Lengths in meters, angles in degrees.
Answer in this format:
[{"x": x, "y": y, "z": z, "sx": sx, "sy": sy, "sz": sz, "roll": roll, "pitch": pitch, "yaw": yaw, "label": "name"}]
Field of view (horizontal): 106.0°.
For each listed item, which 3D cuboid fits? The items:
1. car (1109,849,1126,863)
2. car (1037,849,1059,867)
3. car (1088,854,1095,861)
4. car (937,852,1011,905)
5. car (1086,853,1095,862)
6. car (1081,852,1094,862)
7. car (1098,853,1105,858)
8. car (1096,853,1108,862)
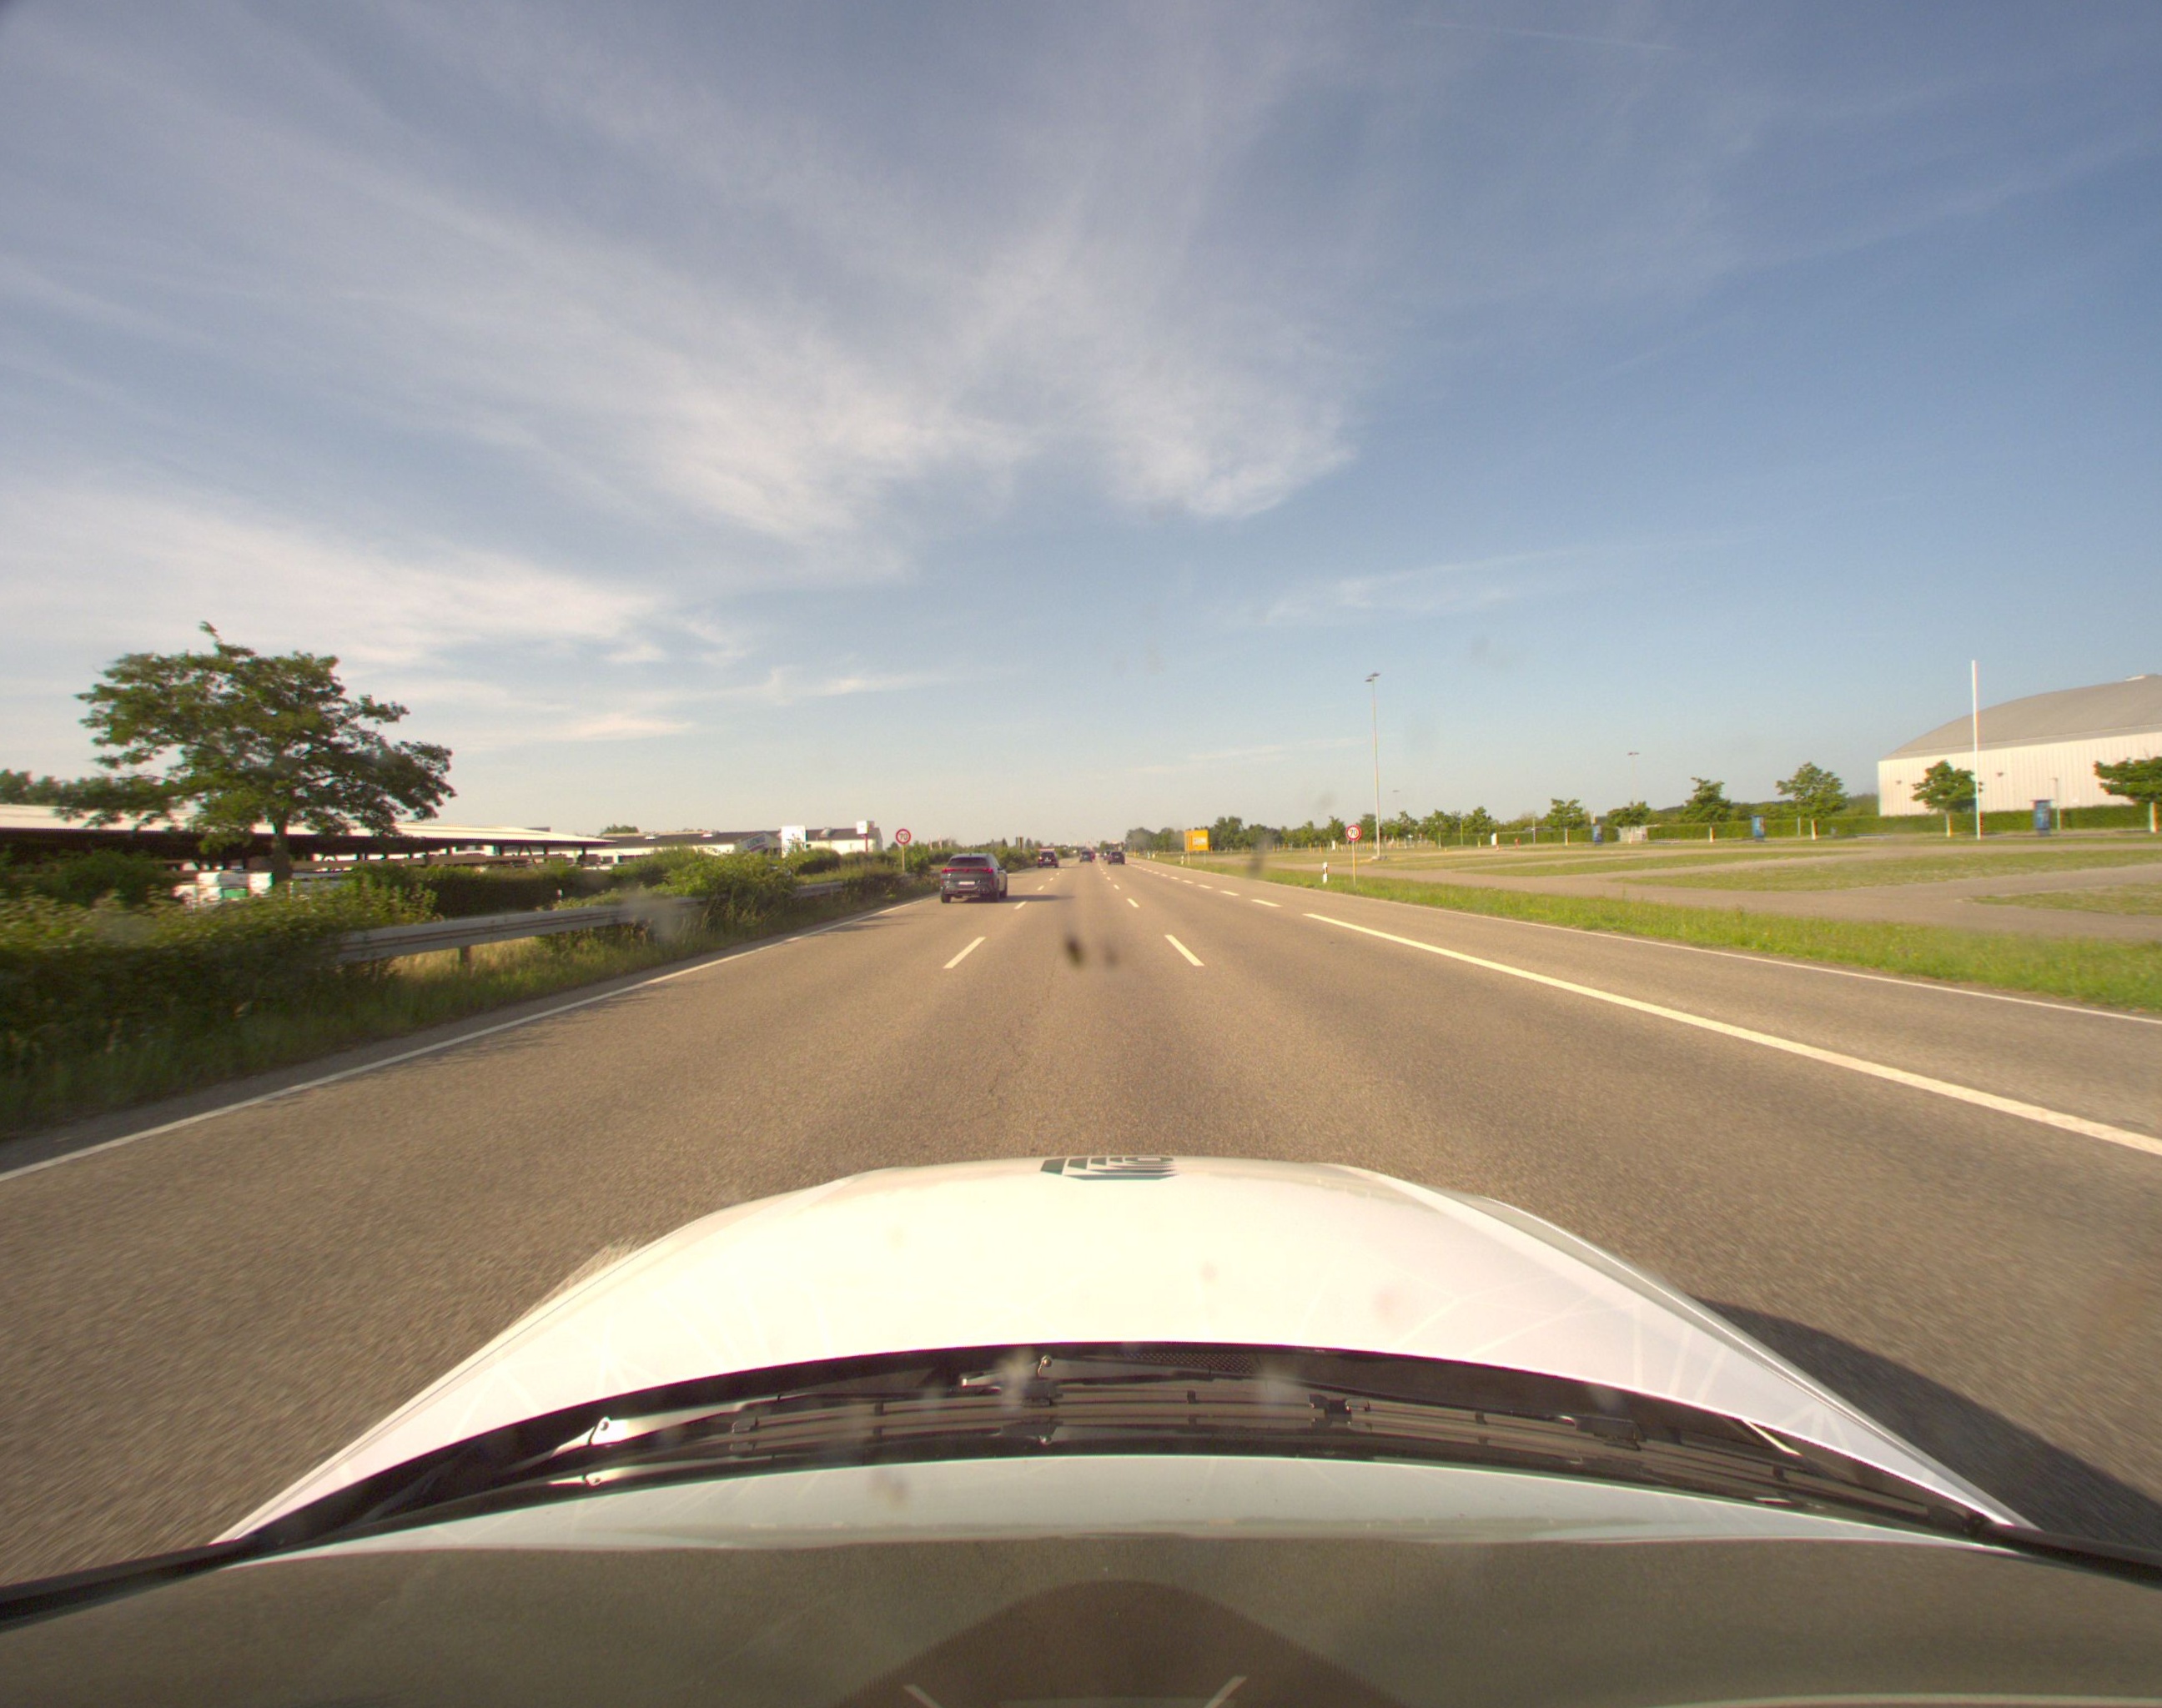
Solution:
[{"x": 4.330, "y": 0.219, "z": 97.636, "sx": 1.926, "sy": 1.680, "sz": 4.401, "roll": 0, "pitch": 0, "yaw": 1, "label": "car"}, {"x": -3.336, "y": 0.391, "z": 82.367, "sx": 1.926, "sy": 1.680, "sz": 4.401, "roll": 0, "pitch": 0, "yaw": 1, "label": "car"}, {"x": 2.456, "y": 0.862, "z": 194.974, "sx": 1.640, "sy": 1.728, "sz": 3.401, "roll": -1, "pitch": -1, "yaw": 0, "label": "car"}, {"x": -3.500, "y": 0.753, "z": 27.449, "sx": 1.839, "sy": 1.612, "sz": 4.401, "roll": 0, "pitch": 0, "yaw": 1, "label": "car"}, {"x": 1.656, "y": 0.556, "z": 140.365, "sx": 1.641, "sy": 1.463, "sz": 3.981, "roll": 0, "pitch": 0, "yaw": 1, "label": "car"}, {"x": 0.961, "y": 0.404, "z": 115.508, "sx": 1.806, "sy": 1.463, "sz": 4.401, "roll": 0, "pitch": 0, "yaw": 1, "label": "car"}, {"x": 5.088, "y": 0.299, "z": 202.303, "sx": 1.498, "sy": 1.313, "sz": 3.156, "roll": 0, "pitch": 0, "yaw": 1, "label": "car"}, {"x": 3.403, "y": 0.509, "z": 133.761, "sx": 1.867, "sy": 1.463, "sz": 3.981, "roll": 0, "pitch": 0, "yaw": 1, "label": "car"}]
